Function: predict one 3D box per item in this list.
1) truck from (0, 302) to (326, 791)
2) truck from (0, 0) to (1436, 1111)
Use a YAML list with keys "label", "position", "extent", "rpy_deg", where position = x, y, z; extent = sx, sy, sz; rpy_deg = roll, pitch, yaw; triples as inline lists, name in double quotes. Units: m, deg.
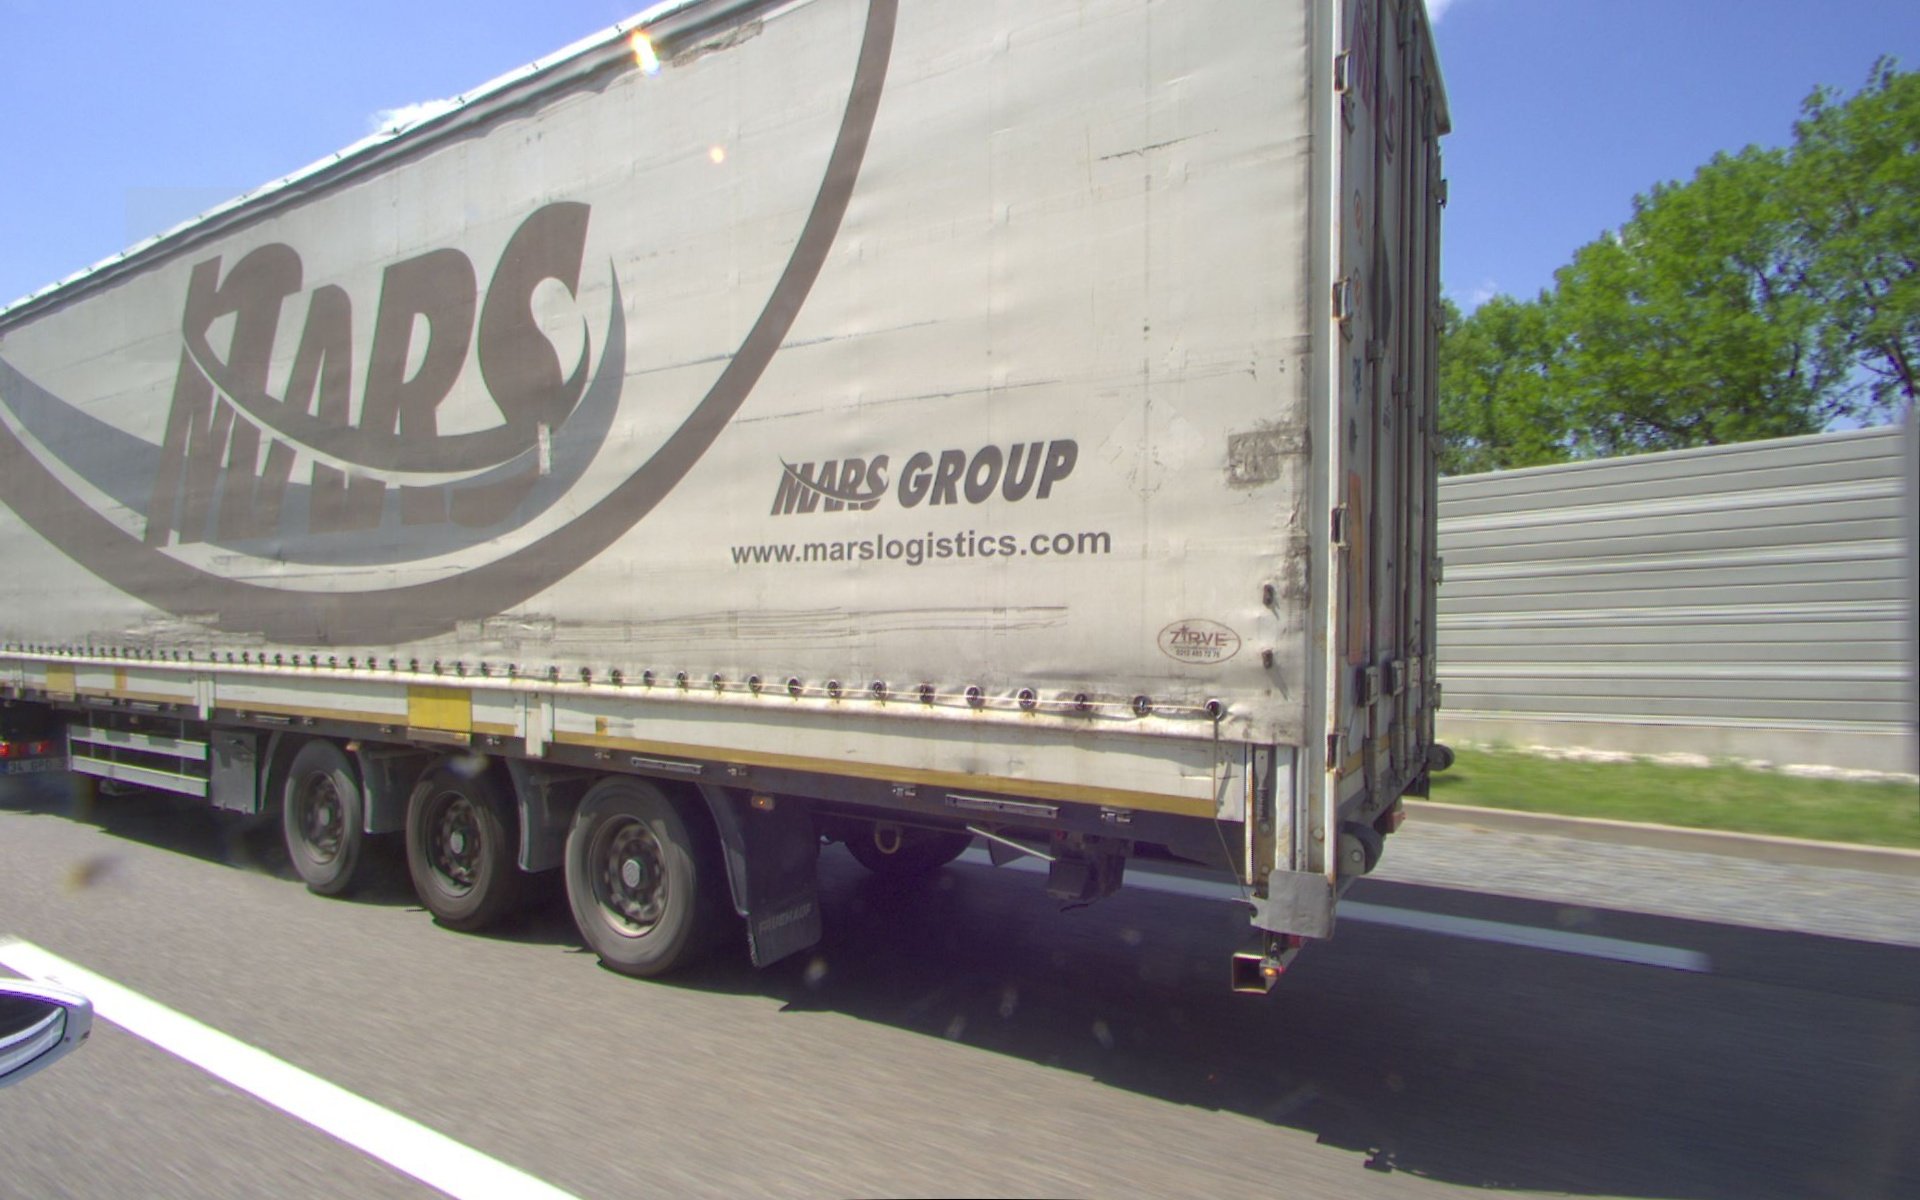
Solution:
- label: "truck"
  position: [-9.863, -0.337, 10.973]
  extent: [5.672, 4.119, 2.715]
  rpy_deg: [-1, -2, 32]
- label: "truck"
  position: [-4.108, -0.516, 7.391]
  extent: [13.544, 4.119, 2.722]
  rpy_deg: [-2, -2, 32]
